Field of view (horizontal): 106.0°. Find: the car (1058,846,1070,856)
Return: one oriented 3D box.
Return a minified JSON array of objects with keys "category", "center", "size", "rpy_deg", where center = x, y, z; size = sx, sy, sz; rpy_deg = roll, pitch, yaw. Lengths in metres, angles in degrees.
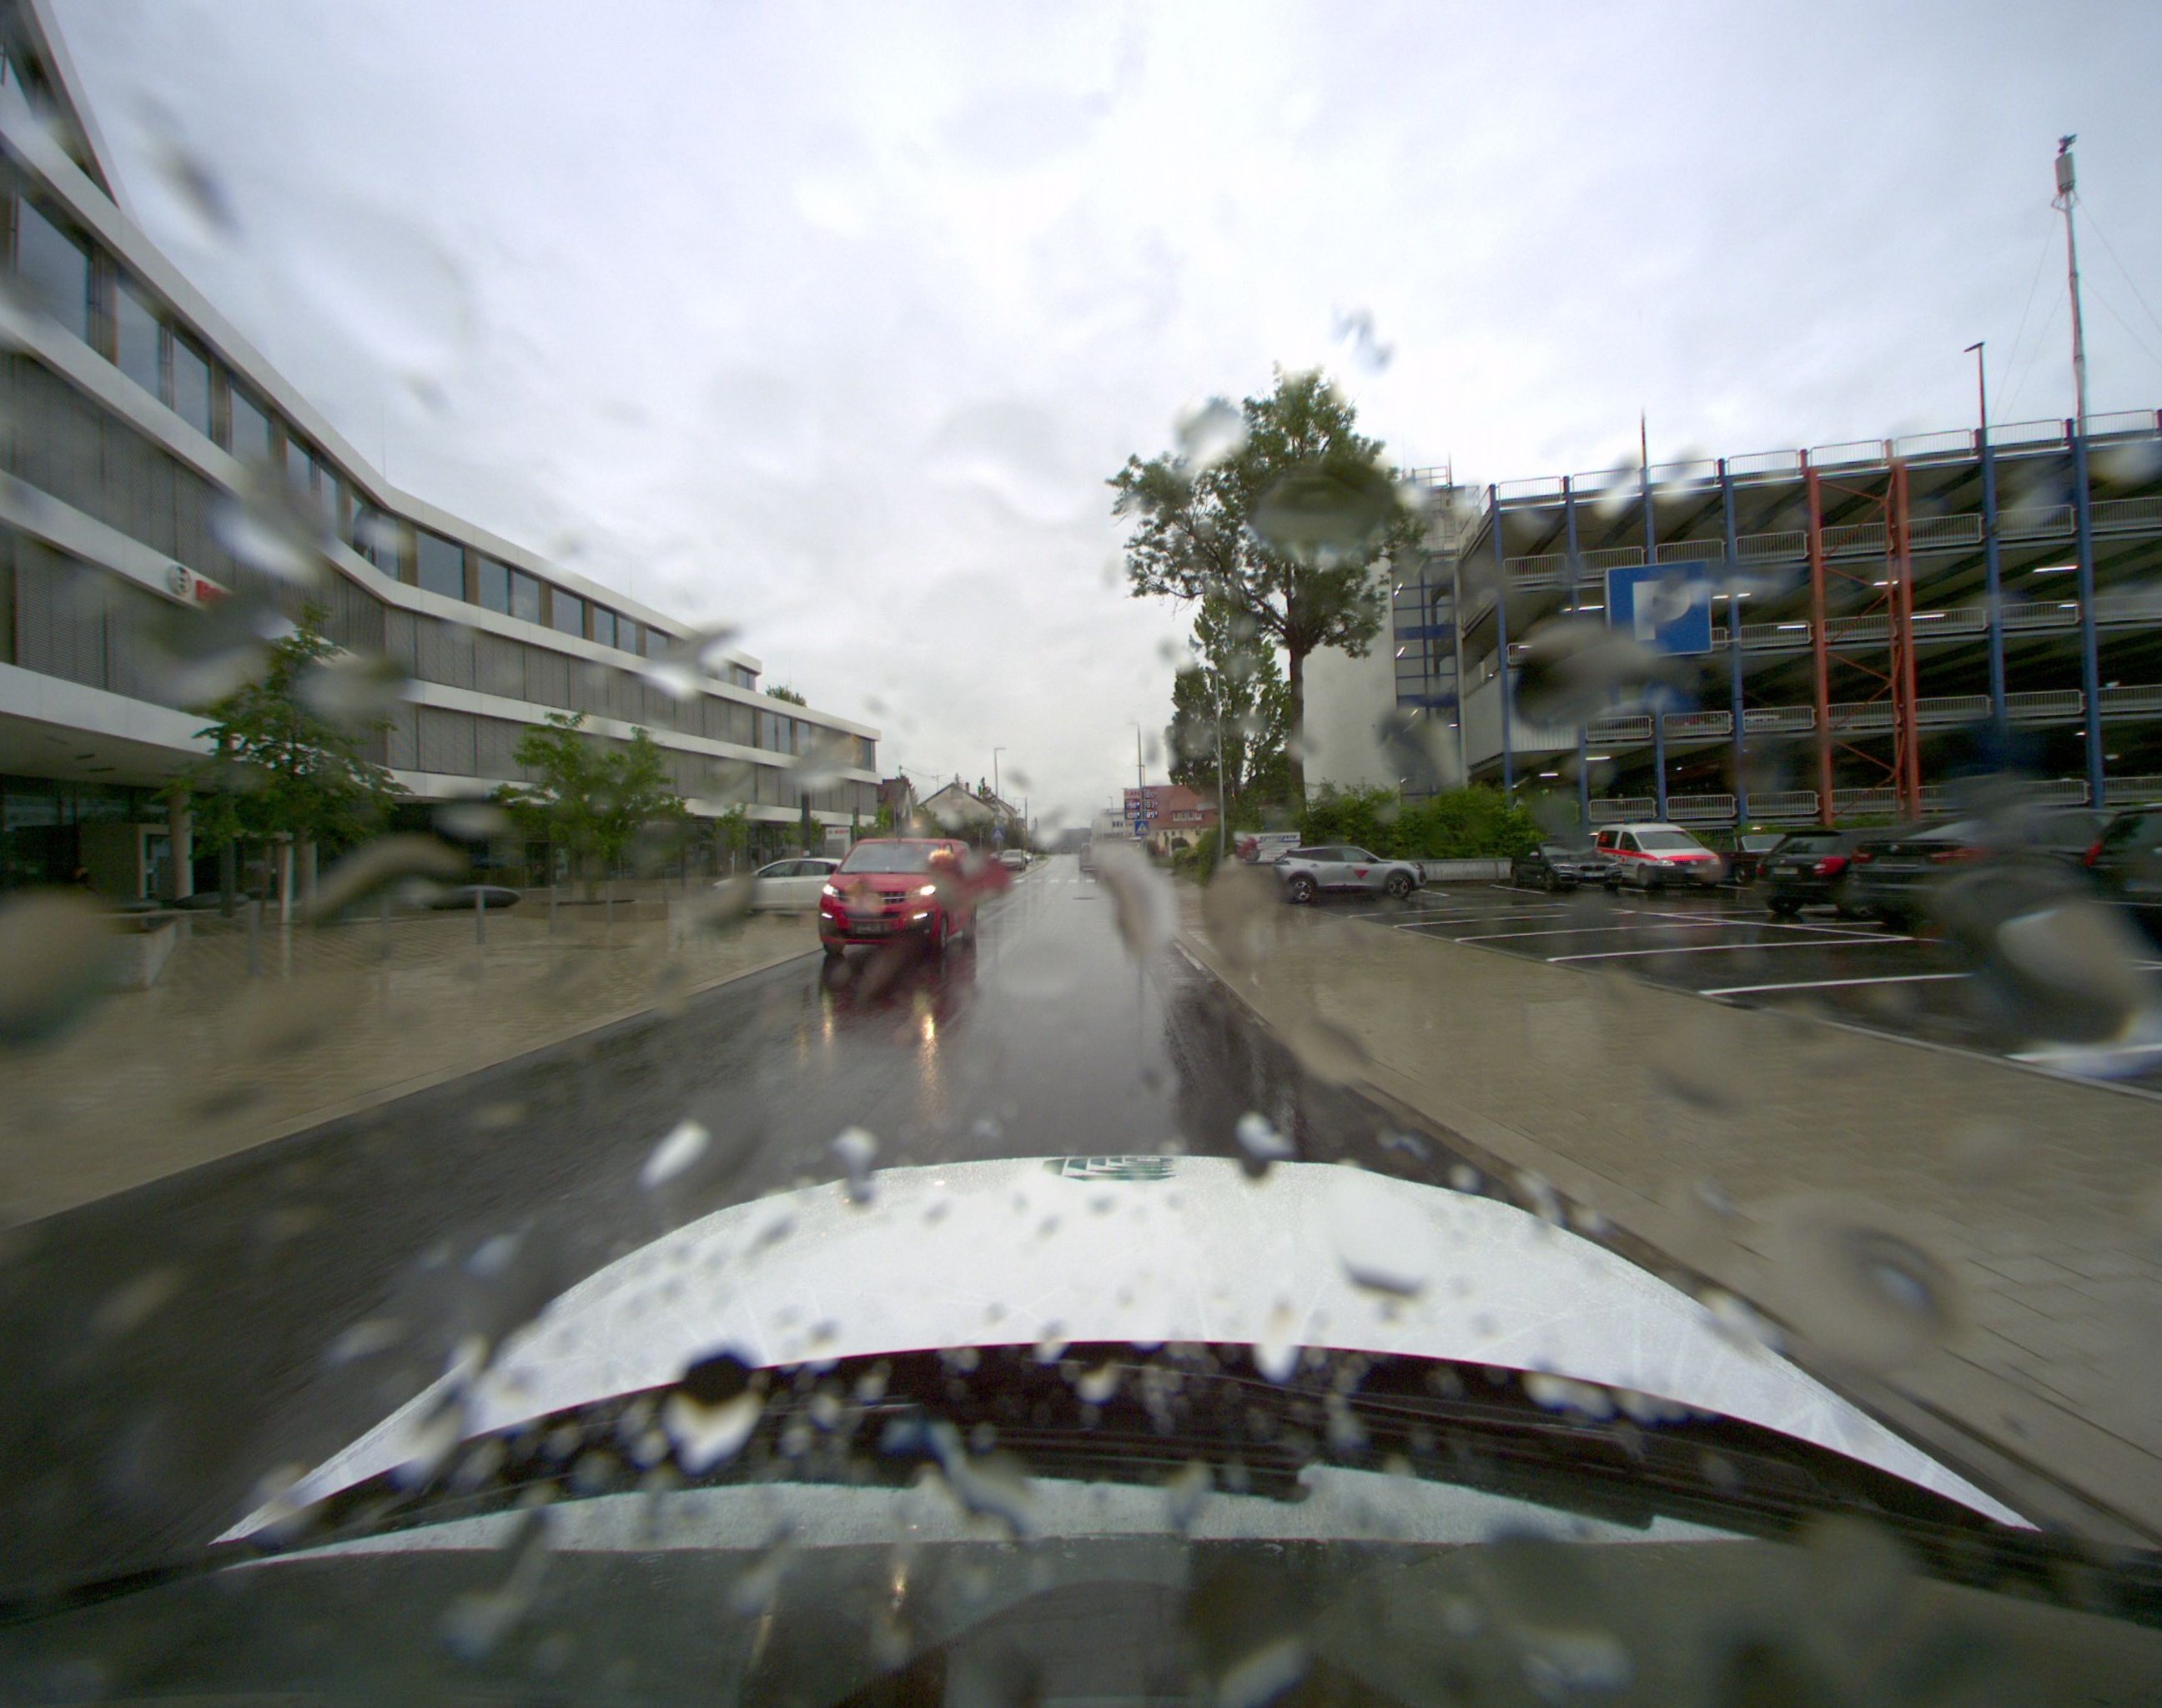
[{"category":"car","center":[-3.190,-0.508,155.950],"size":[2.147,1.706,3.999],"rpy_deg":[2,-2,0]}]

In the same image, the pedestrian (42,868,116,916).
[{"category":"pedestrian","center":[-28.660,1.077,23.322],"size":[0.900,1.314,1.052],"rpy_deg":[3,-2,-27]}]

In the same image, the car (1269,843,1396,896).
[{"category":"car","center":[7.877,0.472,25.852],"size":[3.599,1.494,1.811],"rpy_deg":[-2,0,9]}]

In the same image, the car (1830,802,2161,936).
[{"category":"car","center":[13.125,0.153,11.007],"size":[4.343,1.559,1.839],"rpy_deg":[-2,0,-2]}]

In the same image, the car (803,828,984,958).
[{"category":"car","center":[-2.998,0.565,14.236],"size":[1.997,1.818,4.978],"rpy_deg":[-1,0,0]}]

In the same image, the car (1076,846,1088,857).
[{"category":"car","center":[0.197,-0.366,143.912],"size":[1.987,1.706,3.999],"rpy_deg":[2,-2,0]}]

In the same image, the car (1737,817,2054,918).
[{"category":"car","center":[13.533,0.216,13.690],"size":[3.674,1.500,1.642],"rpy_deg":[-1,0,0]}]

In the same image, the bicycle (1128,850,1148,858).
[{"category":"bicycle","center":[7.548,0.007,108.323],"size":[0.673,1.067,3.593],"rpy_deg":[3,-2,-31]}]

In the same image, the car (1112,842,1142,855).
[{"category":"car","center":[6.496,-0.790,114.942],"size":[4.103,1.706,1.786],"rpy_deg":[2,-2,-3]}]

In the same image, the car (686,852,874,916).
[{"category":"car","center":[-7.377,0.708,20.234],"size":[3.914,1.423,1.898],"rpy_deg":[-1,0,1]}]

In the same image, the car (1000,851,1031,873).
[{"category":"car","center":[-5.202,0.640,65.153],"size":[1.987,1.629,4.153],"rpy_deg":[-2,0,0]}]

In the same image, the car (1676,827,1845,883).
[{"category":"car","center":[18.692,0.017,22.655],"size":[1.720,1.354,4.009],"rpy_deg":[-3,0,8]}]

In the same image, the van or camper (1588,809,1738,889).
[{"category":"van or camper","center":[16.449,-0.139,23.326],"size":[1.825,2.036,4.476],"rpy_deg":[-1,0,12]}]

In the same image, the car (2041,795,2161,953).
[{"category":"car","center":[13.501,0.137,8.693],"size":[4.340,1.658,1.786],"rpy_deg":[-2,0,1]}]

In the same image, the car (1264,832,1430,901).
[{"category":"car","center":[7.435,0.363,23.184],"size":[4.181,1.650,2.006],"rpy_deg":[-3,-1,10]}]

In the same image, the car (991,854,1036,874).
[{"category":"car","center":[-7.254,1.113,87.885],"size":[4.741,2.014,1.998],"rpy_deg":[2,-2,-3]}]

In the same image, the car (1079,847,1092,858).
[{"category":"car","center":[0.744,-0.223,130.719],"size":[1.987,1.706,3.999],"rpy_deg":[2,-2,0]}]

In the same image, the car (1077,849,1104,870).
[{"category":"car","center":[0.721,0.455,65.758],"size":[1.943,1.556,3.996],"rpy_deg":[2,-2,-2]}]

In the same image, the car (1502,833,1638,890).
[{"category":"car","center":[13.974,0.198,23.602],"size":[1.921,1.442,4.217],"rpy_deg":[-1,0,9]}]
